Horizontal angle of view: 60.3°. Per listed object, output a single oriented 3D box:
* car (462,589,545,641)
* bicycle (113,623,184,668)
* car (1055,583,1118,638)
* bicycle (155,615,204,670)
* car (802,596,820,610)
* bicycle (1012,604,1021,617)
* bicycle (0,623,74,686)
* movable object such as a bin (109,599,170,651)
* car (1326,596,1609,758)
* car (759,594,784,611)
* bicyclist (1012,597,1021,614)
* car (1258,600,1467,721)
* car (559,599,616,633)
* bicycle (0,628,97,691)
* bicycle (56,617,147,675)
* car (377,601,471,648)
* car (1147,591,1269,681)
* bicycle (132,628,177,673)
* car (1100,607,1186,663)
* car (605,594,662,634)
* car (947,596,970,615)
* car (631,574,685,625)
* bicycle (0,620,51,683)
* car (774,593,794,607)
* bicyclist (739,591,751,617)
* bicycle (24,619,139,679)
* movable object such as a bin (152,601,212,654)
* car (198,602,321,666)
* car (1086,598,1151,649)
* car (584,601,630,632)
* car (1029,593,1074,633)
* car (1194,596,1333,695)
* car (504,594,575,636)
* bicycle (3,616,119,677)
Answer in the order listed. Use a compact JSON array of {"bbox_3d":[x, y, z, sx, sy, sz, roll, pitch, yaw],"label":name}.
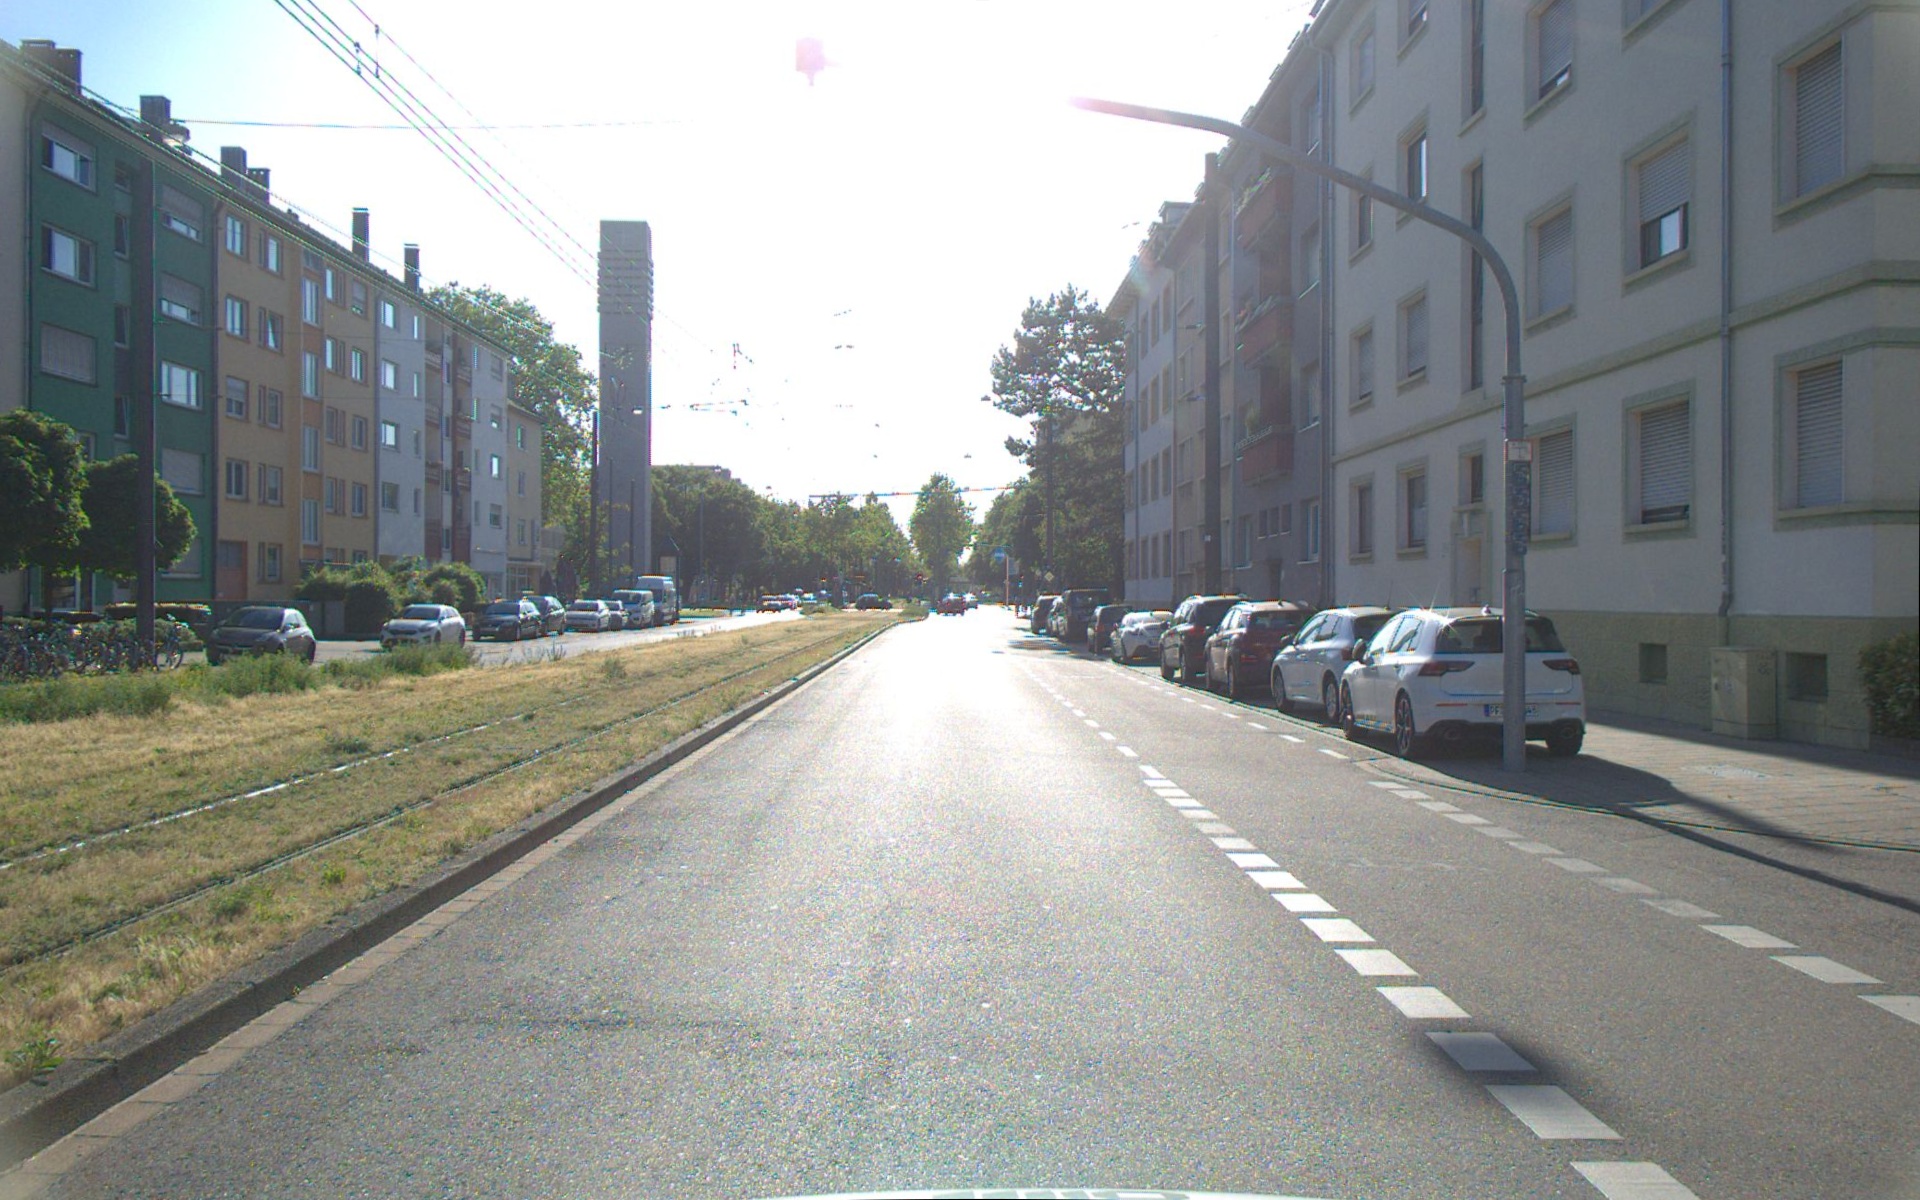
[{"bbox_3d":[-17.919,0.569,65.075,1.953,1.870,4.608,3,0,-1],"label":"car"},{"bbox_3d":[-17.584,0.988,35.838,1.549,0.884,0.417,3,0,22],"label":"bicycle"},{"bbox_3d":[4.814,0.377,63.569,1.874,1.932,5.134,-3,0,-1],"label":"car"},{"bbox_3d":[-17.113,0.914,36.305,0.500,1.111,1.930,3,0,-12],"label":"bicycle"},{"bbox_3d":[-16.555,0.298,183.781,1.653,1.560,4.360,0,0,0],"label":"car"},{"bbox_3d":[4.516,0.868,132.573,0.634,0.989,1.804,3,0,2],"label":"bicycle"},{"bbox_3d":[-18.176,1.029,31.762,2.005,1.111,0.616,3,0,5],"label":"bicycle"},{"bbox_3d":[-23.018,0.706,46.425,1.123,1.392,1.039,3,-1,2],"label":"movable object such as a bin"},{"bbox_3d":[5.240,0.716,17.685,1.659,1.484,4.379,-1,0,0],"label":"car"},{"bbox_3d":[-16.536,0.235,144.908,1.659,1.473,4.217,-1,0,0],"label":"car"},{"bbox_3d":[4.547,0.423,132.631,0.625,1.346,0.803,3,0,2],"label":"bicyclist"},{"bbox_3d":[5.435,0.755,22.829,1.603,1.484,4.078,-1,0,-4],"label":"car"},{"bbox_3d":[-18.004,0.745,80.198,1.854,1.517,4.701,2,0,-3],"label":"car"},{"bbox_3d":[-18.118,1.163,32.480,2.005,1.111,0.616,3,0,5],"label":"bicycle"},{"bbox_3d":[-18.295,0.970,35.233,2.008,1.111,0.615,3,0,27],"label":"bicycle"},{"bbox_3d":[-17.727,0.783,54.912,1.693,1.480,4.375,1,0,-1],"label":"car"},{"bbox_3d":[5.020,0.685,33.997,1.603,1.676,4.371,-2,0,-3],"label":"car"},{"bbox_3d":[-17.554,1.096,36.071,0.369,0.881,2.048,3,0,-12],"label":"bicycle"},{"bbox_3d":[4.848,0.897,44.367,1.668,1.297,4.302,-3,0,-2],"label":"car"},{"bbox_3d":[-18.014,0.730,91.437,1.991,2.056,5.370,3,0,0],"label":"car"},{"bbox_3d":[-0.127,0.442,135.047,1.660,1.534,3.697,2,0,-3],"label":"car"},{"bbox_3d":[-18.117,-0.042,99.405,1.990,2.919,6.228,1,0,0],"label":"car"},{"bbox_3d":[-18.218,0.929,31.009,2.005,1.111,0.616,3,0,5],"label":"bicycle"},{"bbox_3d":[-19.503,0.017,183.208,1.770,1.560,4.360,0,0,0],"label":"car"},{"bbox_3d":[-17.248,0.325,132.528,0.757,2.049,0.648,3,0,-1],"label":"bicyclist"},{"bbox_3d":[-17.983,0.987,33.869,2.005,1.111,0.616,3,0,5],"label":"bicycle"},{"bbox_3d":[-21.815,0.765,46.395,1.123,1.392,1.039,3,-1,2],"label":"movable object such as a bin"},{"bbox_3d":[-17.621,0.822,41.755,1.603,1.467,3.732,2,0,-3],"label":"car"},{"bbox_3d":[4.971,0.703,52.172,1.602,1.479,3.789,-2,0,-1],"label":"car"},{"bbox_3d":[-18.237,0.845,85.621,1.661,1.541,4.323,1,0,-3],"label":"car"},{"bbox_3d":[4.314,0.585,78.791,1.840,1.747,4.934,-3,0,0],"label":"car"},{"bbox_3d":[5.160,0.721,28.552,1.602,1.544,4.188,-1,0,0],"label":"car"},{"bbox_3d":[-17.916,0.612,70.611,1.953,1.635,4.150,3,0,-1],"label":"car"},{"bbox_3d":[-18.045,0.927,33.213,2.005,1.111,0.616,3,0,5],"label":"bicycle"}]
